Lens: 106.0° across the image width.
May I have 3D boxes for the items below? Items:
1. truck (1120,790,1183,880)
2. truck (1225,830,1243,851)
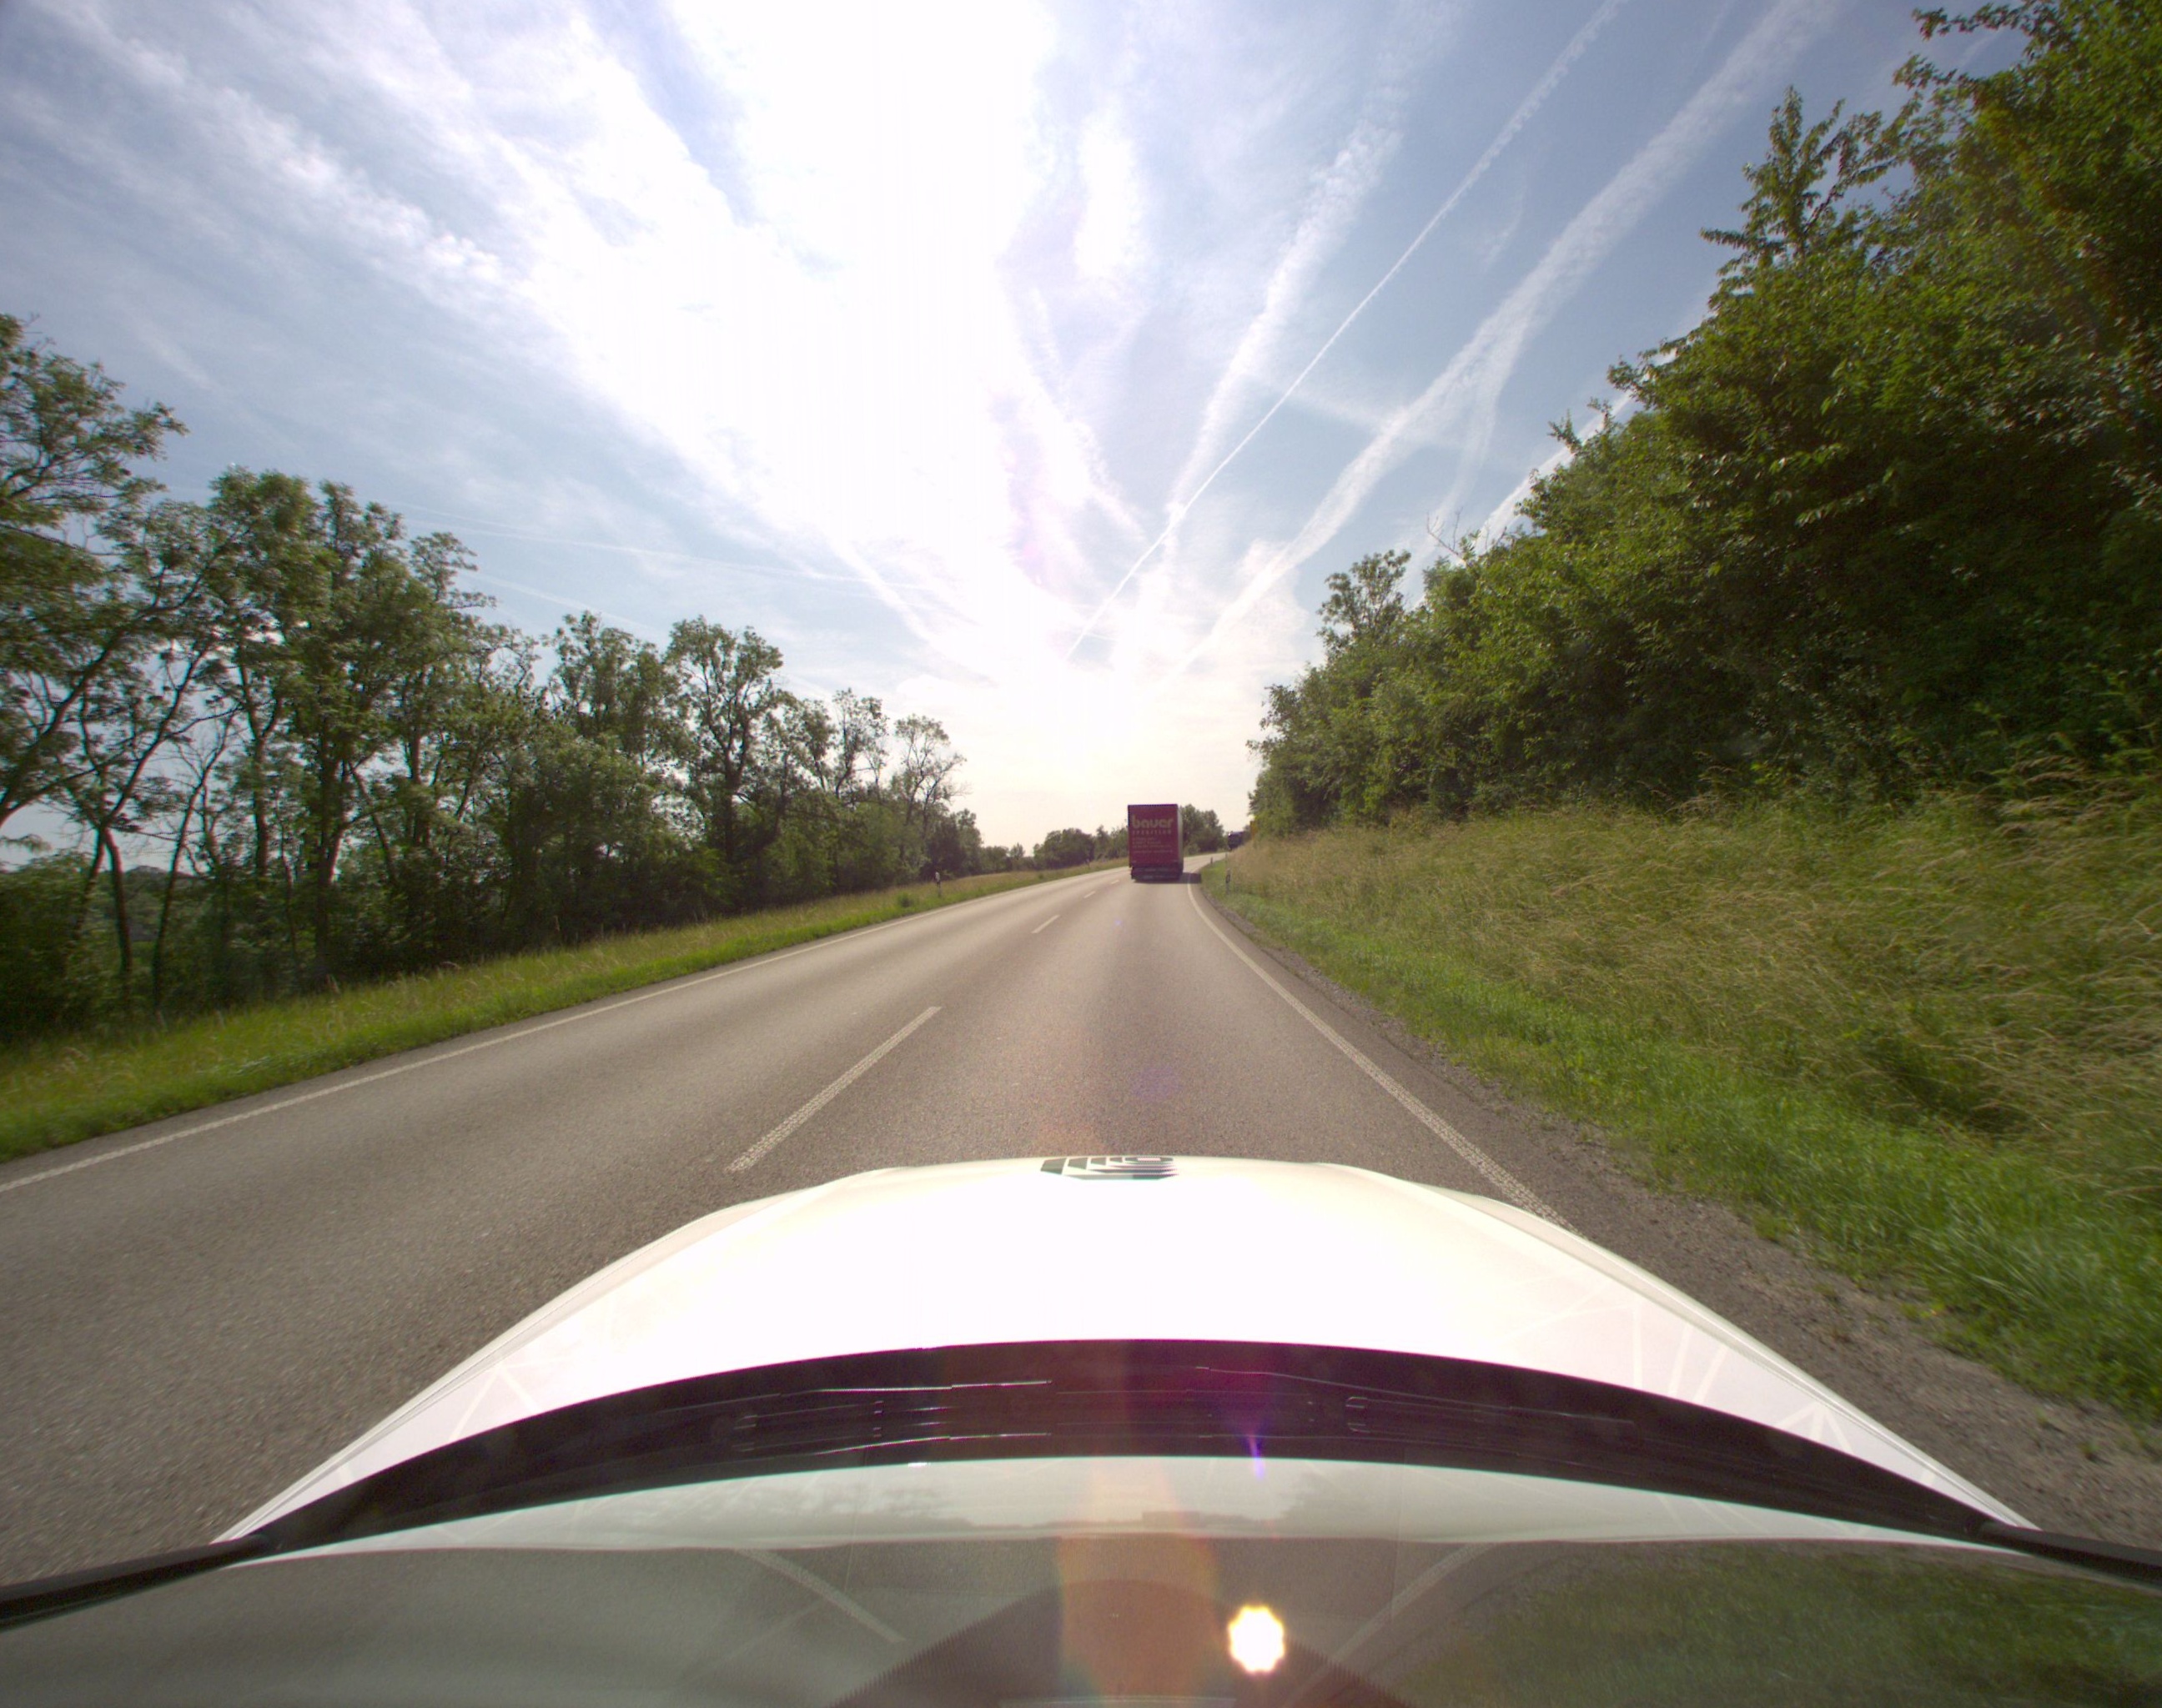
[{"bbox_3d":[4.301,-0.993,46.888,3.095,4.505,12.192,0,0,7],"label":"truck"},{"bbox_3d":[30.161,-2.654,160.385,2.784,4.067,6.012,-2,0,17],"label":"truck"}]
